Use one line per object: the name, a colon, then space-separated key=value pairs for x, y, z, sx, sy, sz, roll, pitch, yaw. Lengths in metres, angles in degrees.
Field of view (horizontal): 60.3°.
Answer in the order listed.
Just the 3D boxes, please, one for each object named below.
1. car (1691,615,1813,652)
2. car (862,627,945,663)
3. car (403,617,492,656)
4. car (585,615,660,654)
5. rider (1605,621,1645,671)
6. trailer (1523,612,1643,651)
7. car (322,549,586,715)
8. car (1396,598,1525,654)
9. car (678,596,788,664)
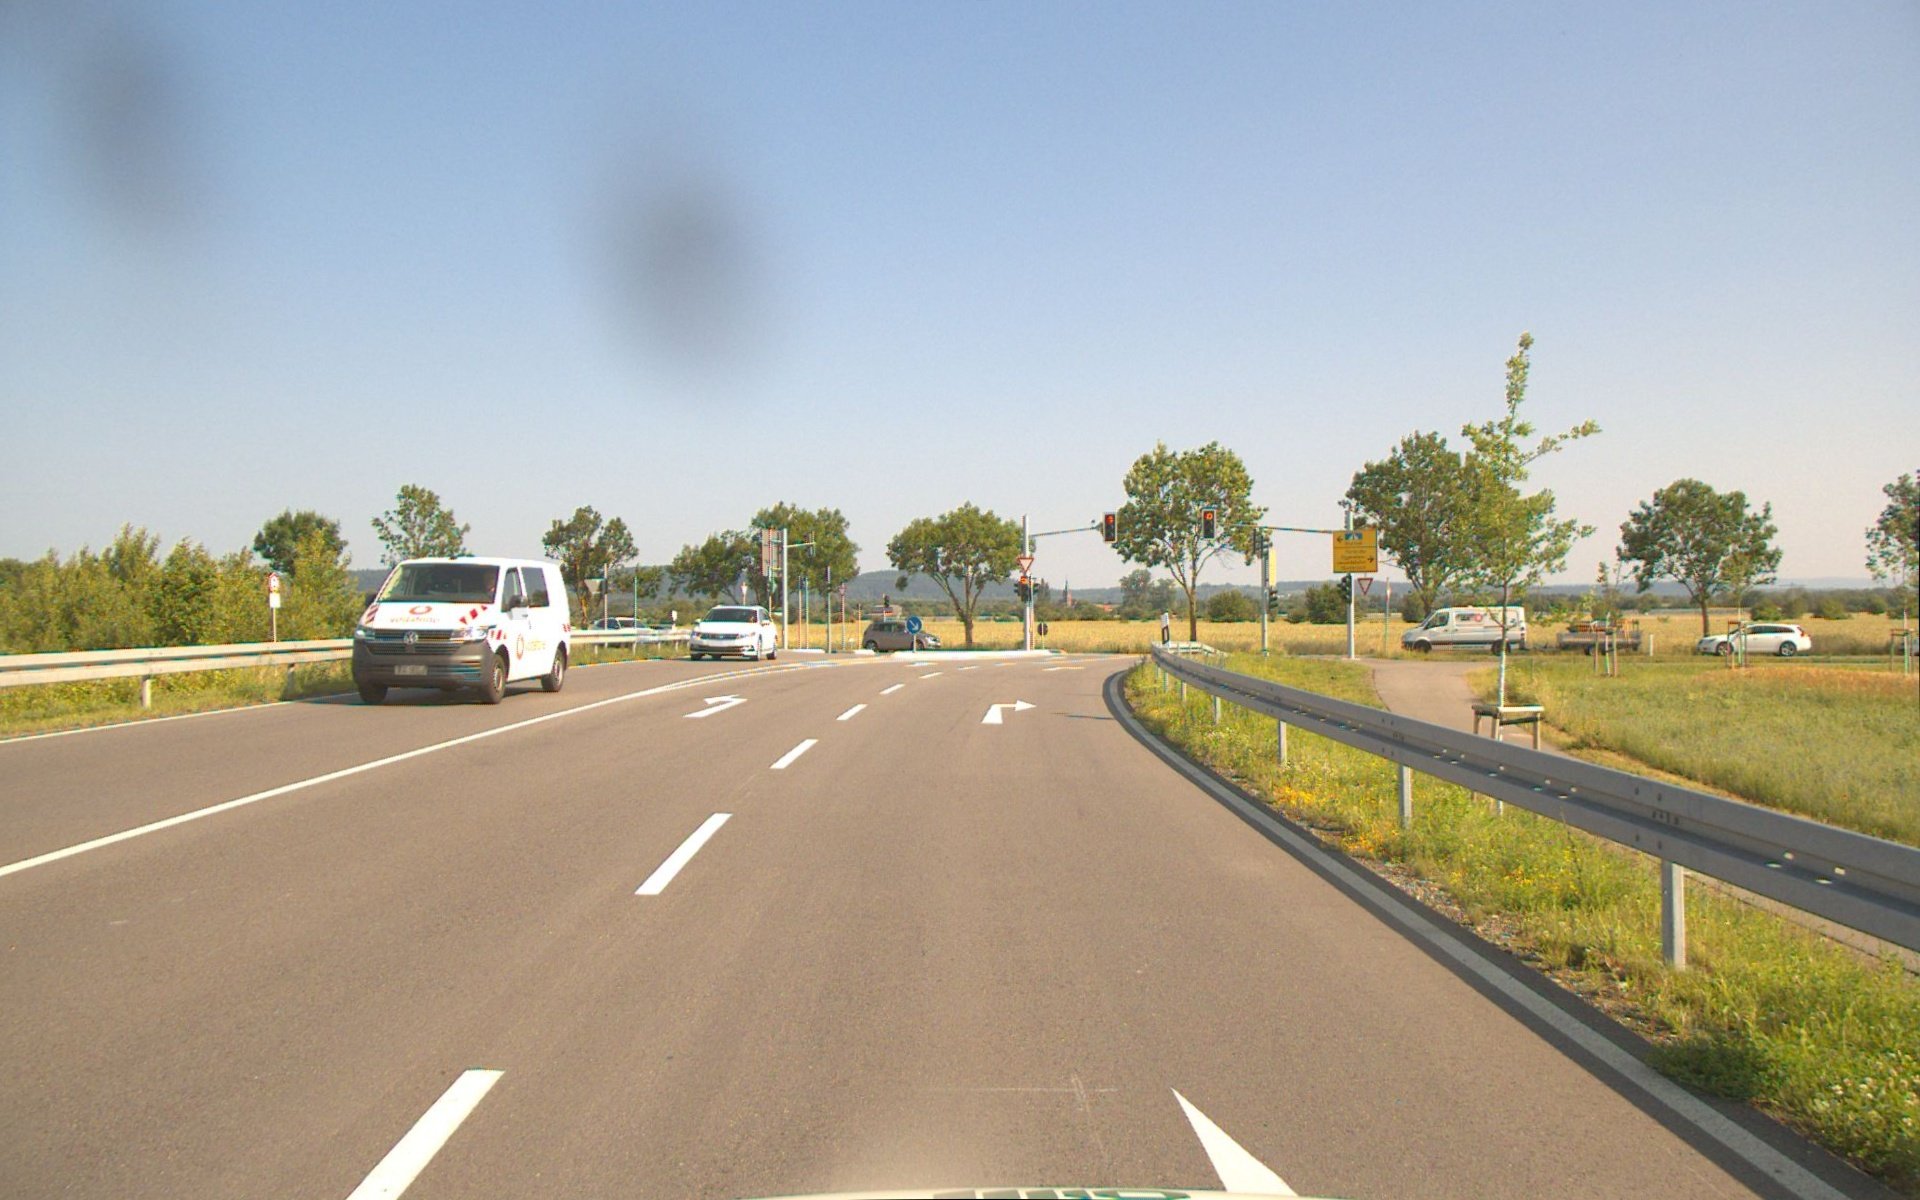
car: x=36.612 y=1.557 z=76.603 sx=4.764 sy=1.536 sz=2.001 roll=1 pitch=-2 yaw=13
car: x=-2.893 y=2.289 z=84.460 sx=3.871 sy=1.697 sz=1.765 roll=1 pitch=-2 yaw=14
car: x=-28.118 y=1.996 z=90.688 sx=4.818 sy=1.974 sz=1.836 roll=1 pitch=-1 yaw=30
car: x=-16.496 y=1.714 z=80.693 sx=1.679 sy=1.703 sz=4.798 roll=4 pitch=-5 yaw=-37
rider: x=22.996 y=1.591 z=57.168 sx=0.811 sy=1.671 sz=0.980 roll=-1 pitch=0 yaw=-31
trailer: x=29.424 y=1.513 z=78.287 sx=5.149 sy=1.784 sz=1.955 roll=-1 pitch=-2 yaw=15
car: x=-7.018 y=0.327 z=23.592 sx=2.071 sy=2.048 sz=5.155 roll=2 pitch=2 yaw=1
car: x=24.084 y=1.261 z=79.781 sx=5.831 sy=2.536 sz=2.001 roll=1 pitch=-2 yaw=16
car: x=-6.034 y=0.760 z=44.588 sx=2.071 sy=1.519 sz=5.155 roll=2 pitch=2 yaw=2
